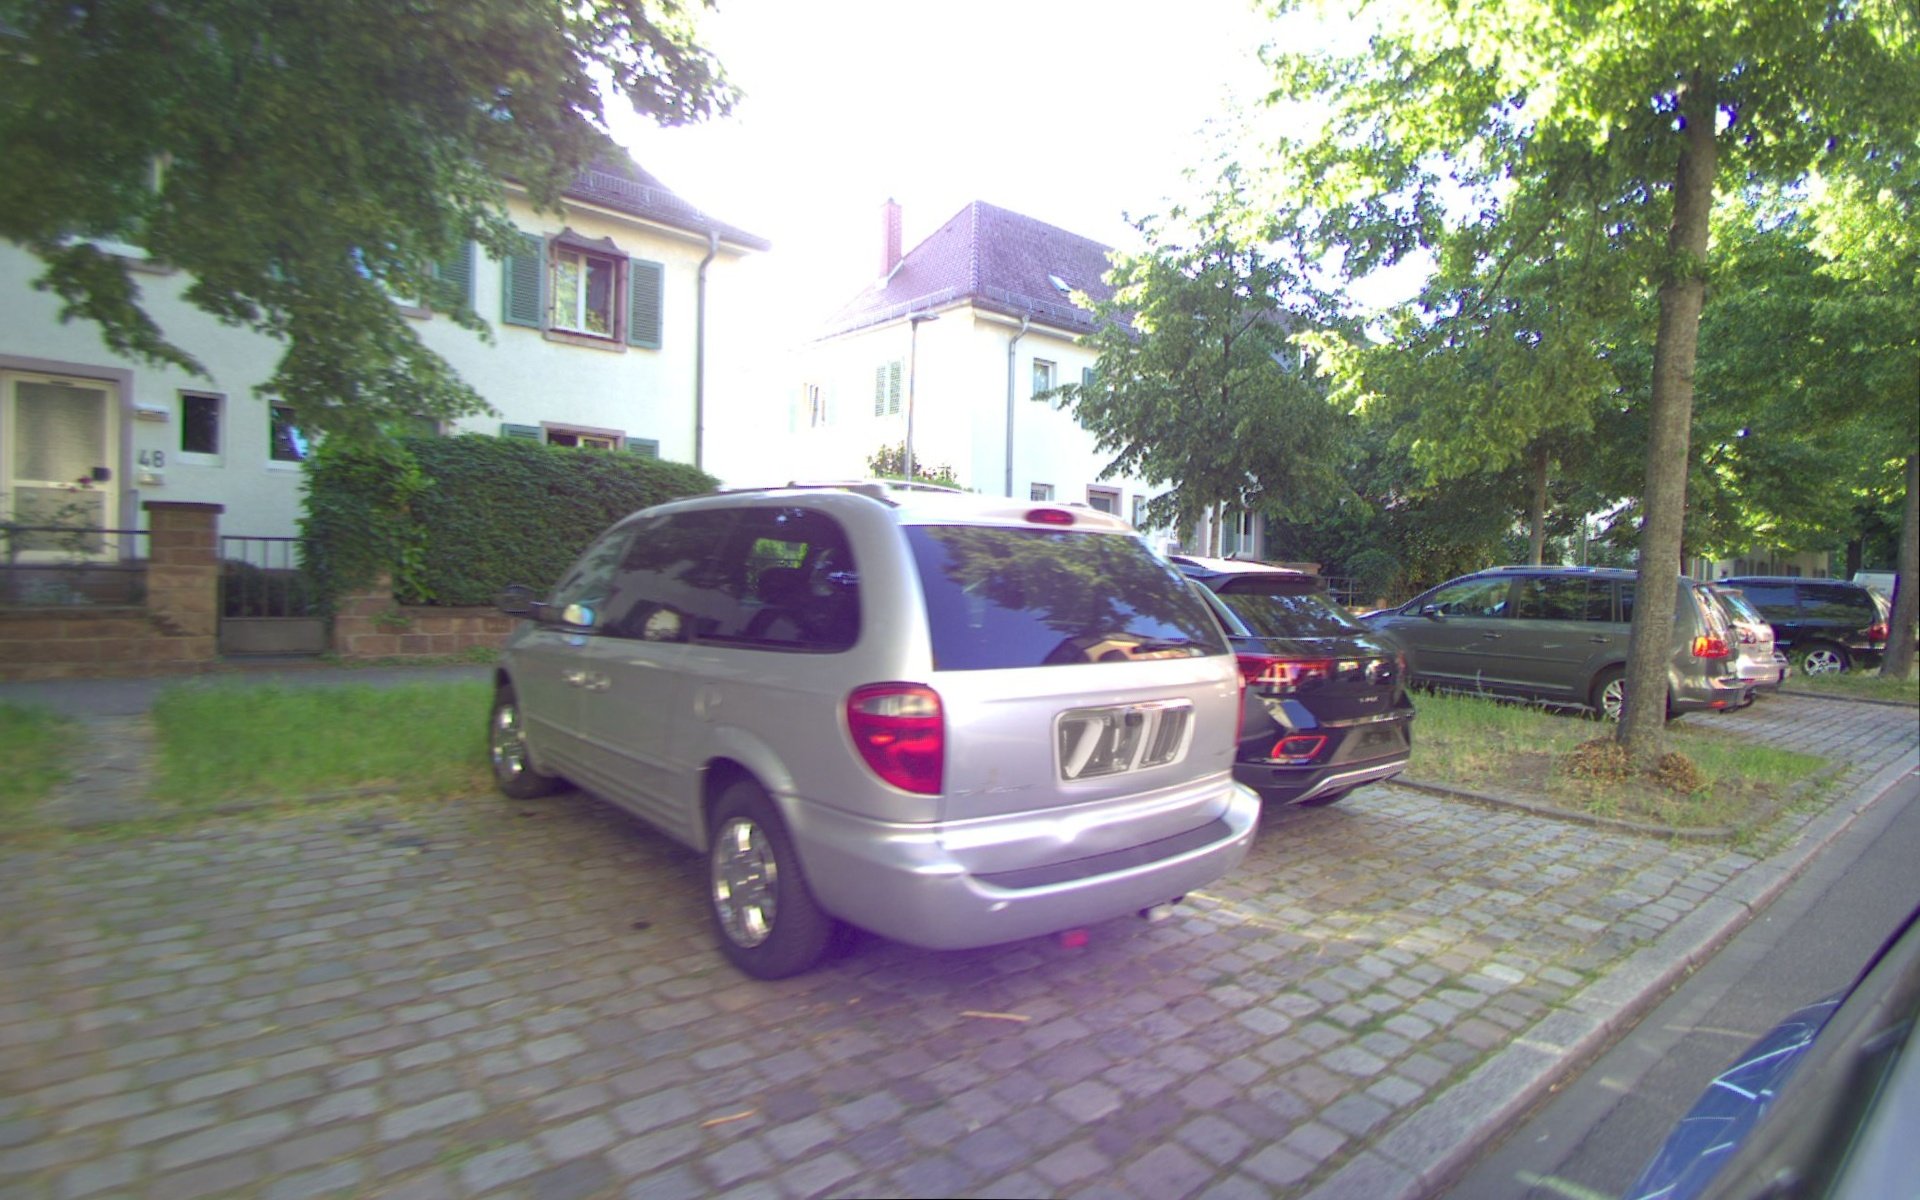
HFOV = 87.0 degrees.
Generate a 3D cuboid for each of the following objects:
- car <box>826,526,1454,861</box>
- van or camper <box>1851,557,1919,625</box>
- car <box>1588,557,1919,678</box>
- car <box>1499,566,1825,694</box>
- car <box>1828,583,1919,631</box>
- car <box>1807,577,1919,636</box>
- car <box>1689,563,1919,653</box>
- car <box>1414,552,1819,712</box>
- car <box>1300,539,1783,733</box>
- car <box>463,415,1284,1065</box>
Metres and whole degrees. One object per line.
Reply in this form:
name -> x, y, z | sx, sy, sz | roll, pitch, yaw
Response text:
car -> 0.899, 0.347, 6.943 | 1.663, 1.494, 4.080 | 1, 4, -39
van or camper -> 38.868, -0.210, 39.502 | 2.124, 2.546, 5.734 | 0, 5, -40
car -> 14.485, 0.212, 18.572 | 1.872, 1.697, 4.596 | 0, 5, -38
car -> 10.530, 0.352, 15.400 | 1.561, 1.470, 3.732 | 0, 5, -40
car -> 33.105, 0.309, 34.934 | 1.795, 1.453, 4.488 | 0, 5, -40
car -> 29.022, 0.267, 30.671 | 1.862, 1.557, 4.848 | 0, 5, -42
car -> 19.839, 0.130, 23.367 | 1.842, 1.653, 4.487 | 0, 5, -41
car -> 8.783, 0.291, 13.926 | 1.659, 1.653, 4.288 | 1, 5, -37
car -> 6.594, 0.244, 11.885 | 4.543, 1.653, 1.783 | 7, 5, 44
car -> -0.951, 0.230, 5.061 | 1.800, 1.730, 4.633 | 0, 3, -38
